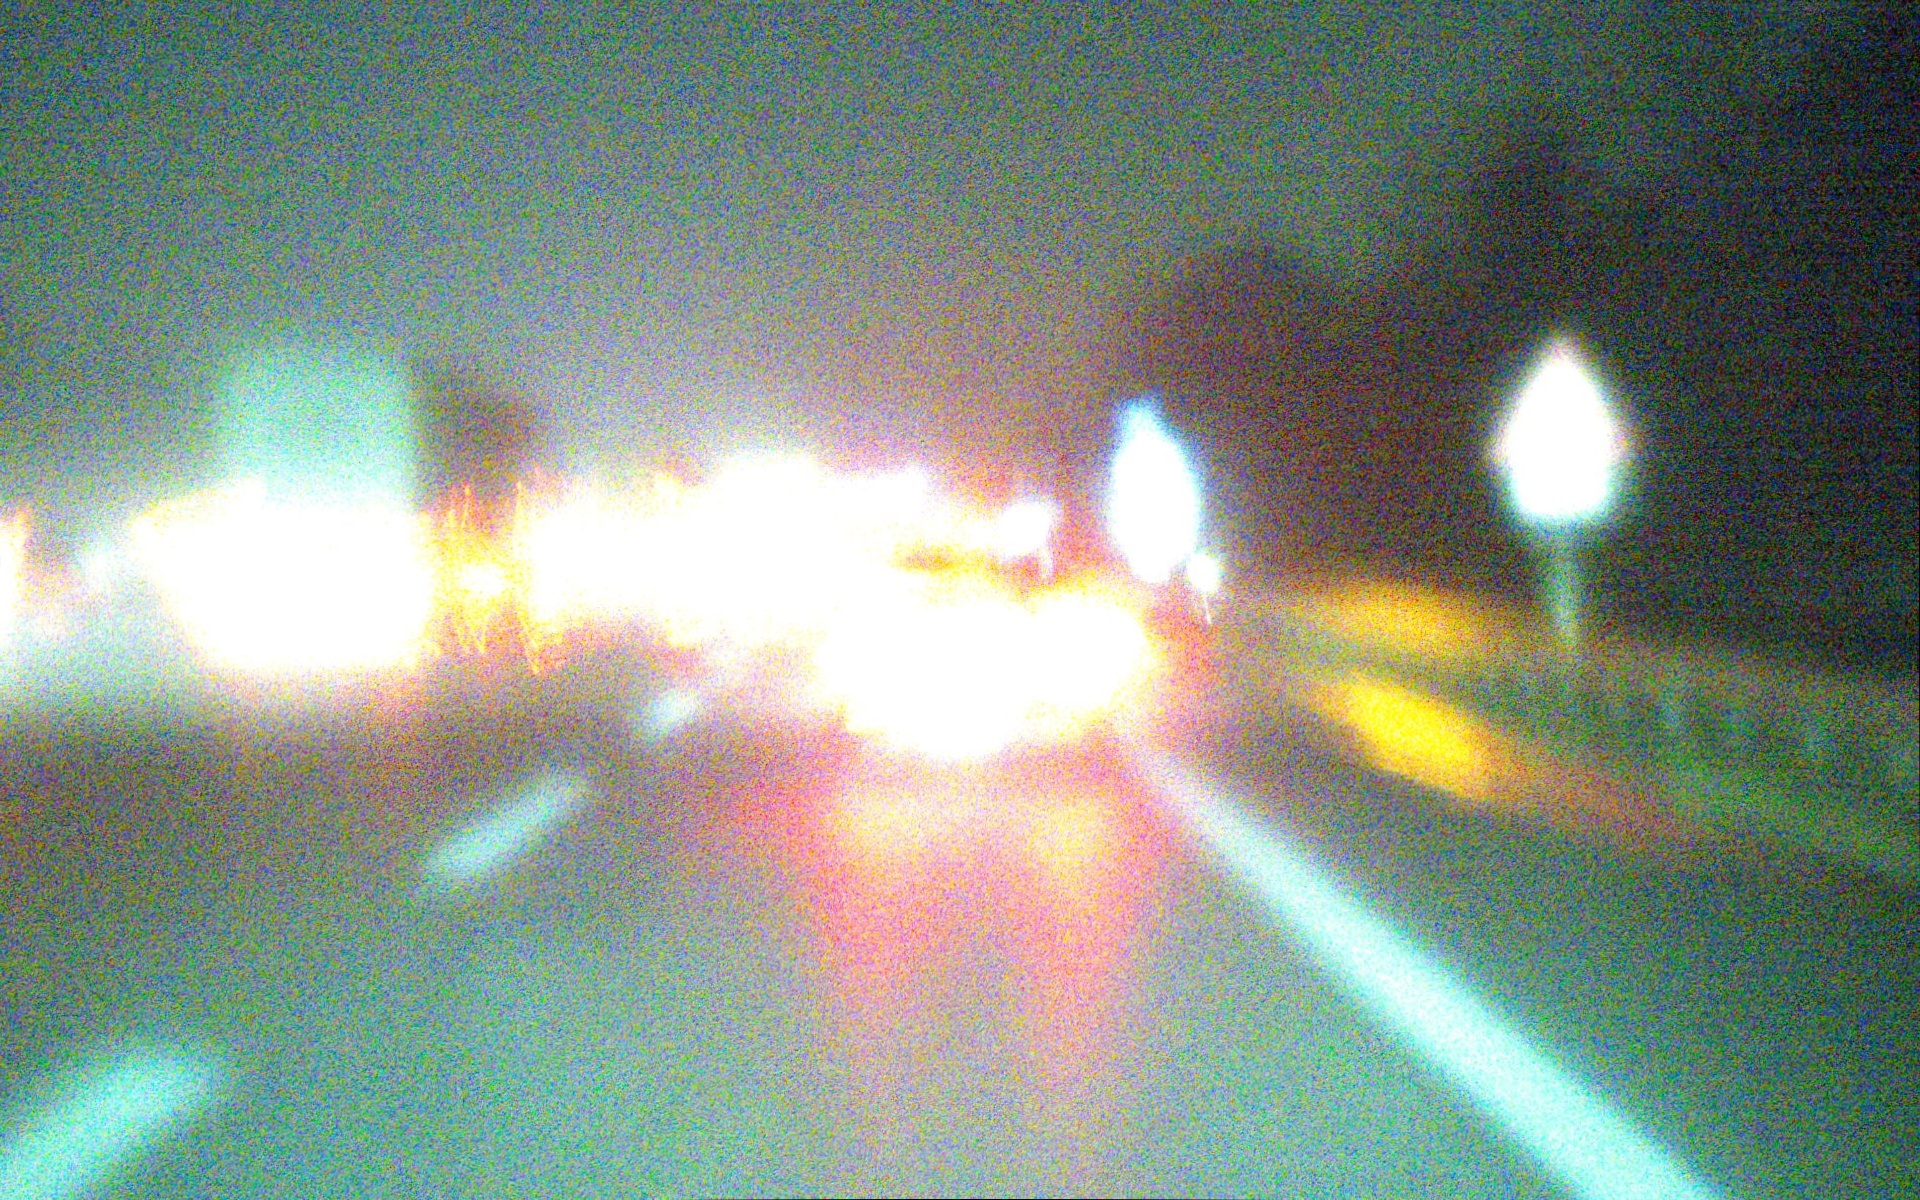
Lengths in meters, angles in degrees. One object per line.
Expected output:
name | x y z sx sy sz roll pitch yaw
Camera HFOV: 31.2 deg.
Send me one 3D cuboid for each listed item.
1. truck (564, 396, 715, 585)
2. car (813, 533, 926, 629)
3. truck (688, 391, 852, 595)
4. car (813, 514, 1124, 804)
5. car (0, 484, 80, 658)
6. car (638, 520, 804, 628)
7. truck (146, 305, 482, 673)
truck | -9.722 -3.272 105.574 4.253 5.425 10.886 1 1 -4
car | -1.663 -0.381 64.574 1.993 1.698 4.459 1 1 0
truck | -5.179 -2.850 94.038 4.161 5.197 9.955 1 1 -3
car | 0.064 0.332 23.092 1.878 1.756 4.000 1 1 0
car | -12.870 -0.417 44.282 2.123 2.097 5.630 0 1 -5
car | -4.619 -0.532 67.506 2.833 2.007 5.510 1 1 0
truck | -9.068 -1.513 49.572 3.655 4.721 9.854 1 1 -4
